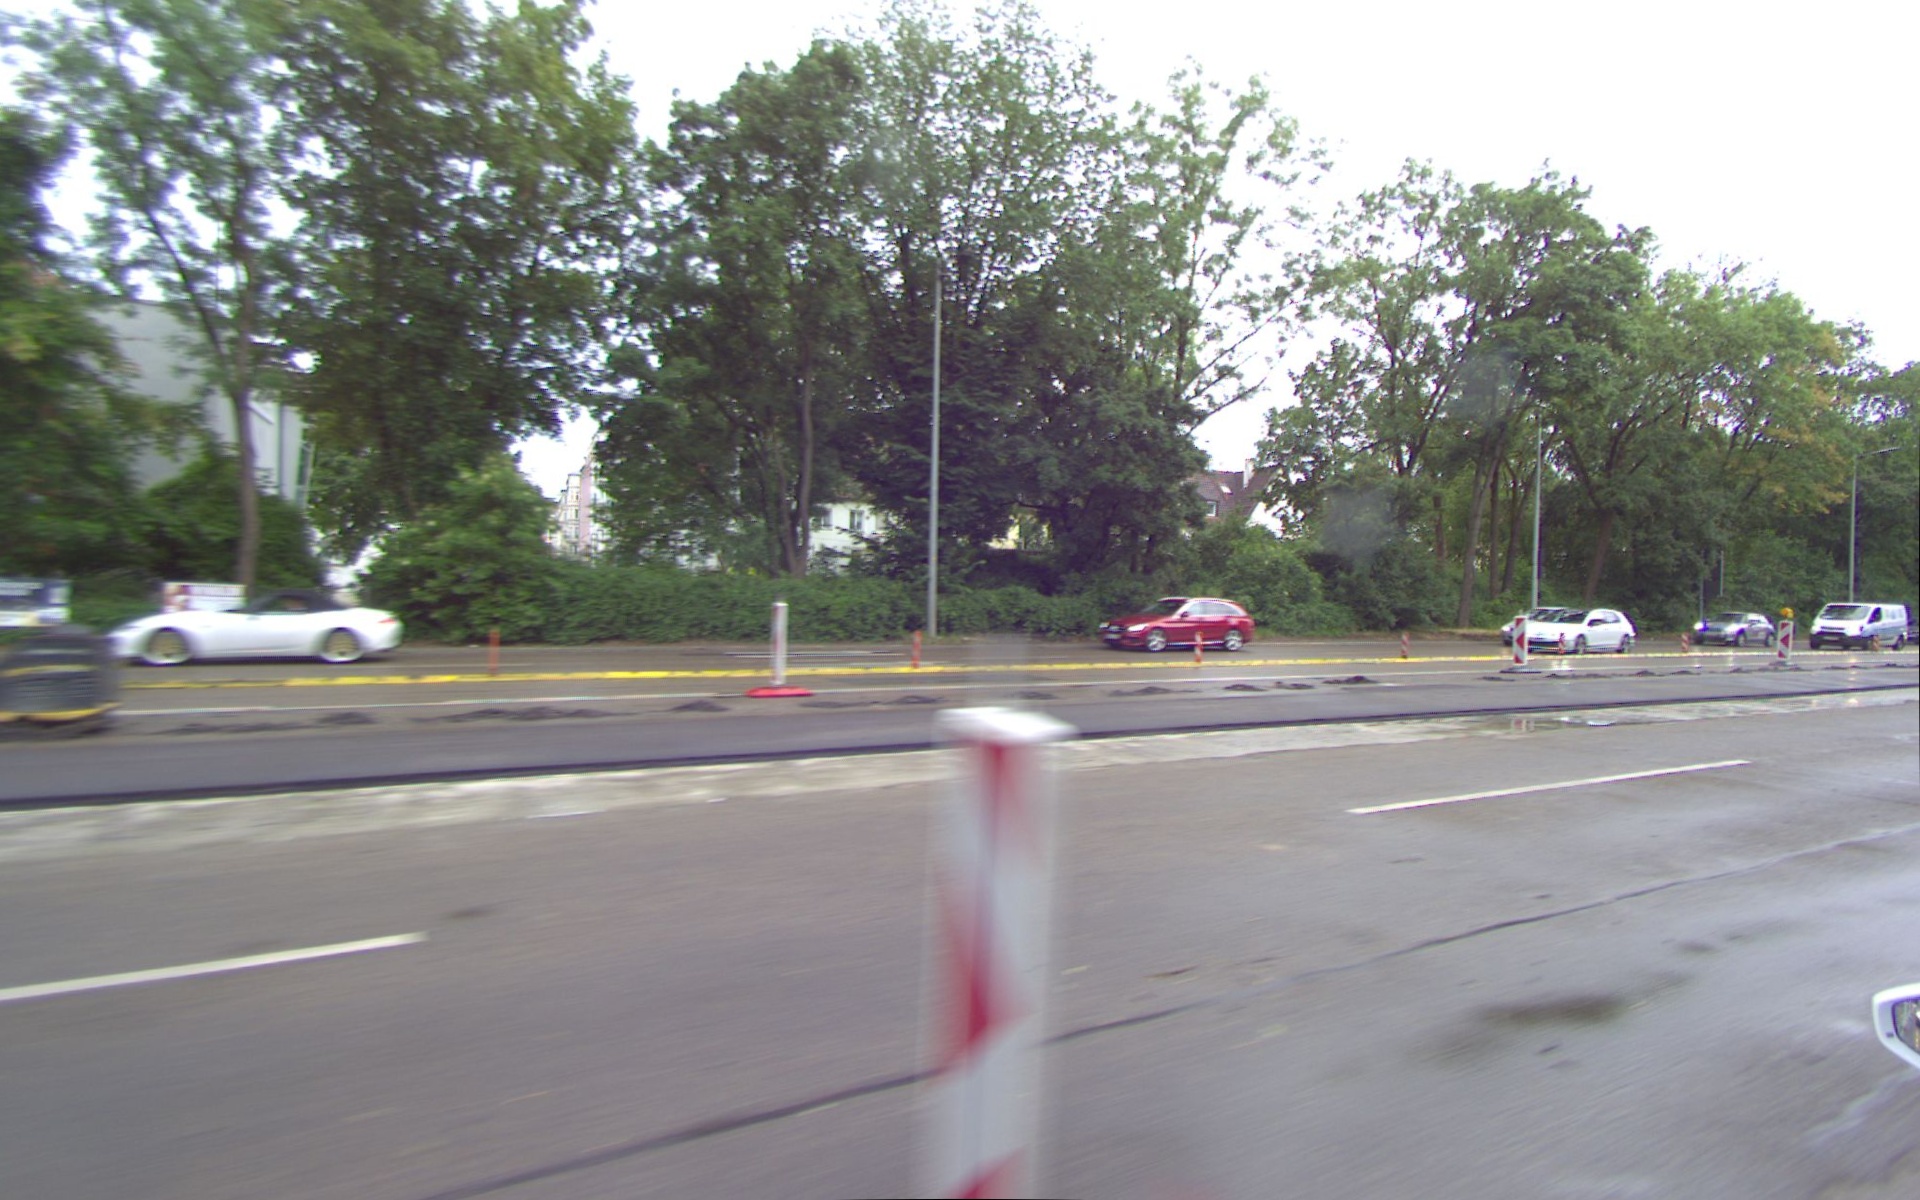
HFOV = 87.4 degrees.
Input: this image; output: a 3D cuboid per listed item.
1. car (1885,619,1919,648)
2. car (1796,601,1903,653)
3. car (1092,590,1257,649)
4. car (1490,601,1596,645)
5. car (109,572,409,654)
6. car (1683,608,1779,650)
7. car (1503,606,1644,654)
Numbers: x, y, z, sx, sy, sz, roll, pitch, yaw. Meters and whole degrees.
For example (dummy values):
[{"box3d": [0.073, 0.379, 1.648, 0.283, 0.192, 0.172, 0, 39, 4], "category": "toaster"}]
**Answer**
[{"box3d": [50.248, 1.750, 52.433, 3.951, 1.439, 1.638, 2, 1, -29], "category": "car"}, {"box3d": [37.345, 1.132, 42.154, 4.847, 1.998, 1.983, 1, 1, -31], "category": "car"}, {"box3d": [5.933, 0.537, 27.637, 4.435, 1.496, 1.720, 1, 0, -31], "category": "car"}, {"box3d": [21.107, 0.828, 36.362, 3.595, 1.419, 1.672, 2, 1, -29], "category": "car"}, {"box3d": [-11.560, 0.219, 16.889, 3.955, 1.199, 1.680, 1, 2, -32], "category": "car"}, {"box3d": [32.911, 1.254, 42.860, 3.953, 1.643, 1.818, 2, 1, -30], "category": "car"}, {"box3d": [19.768, 0.962, 32.341, 4.340, 1.434, 1.985, 2, -1, -29], "category": "car"}]
